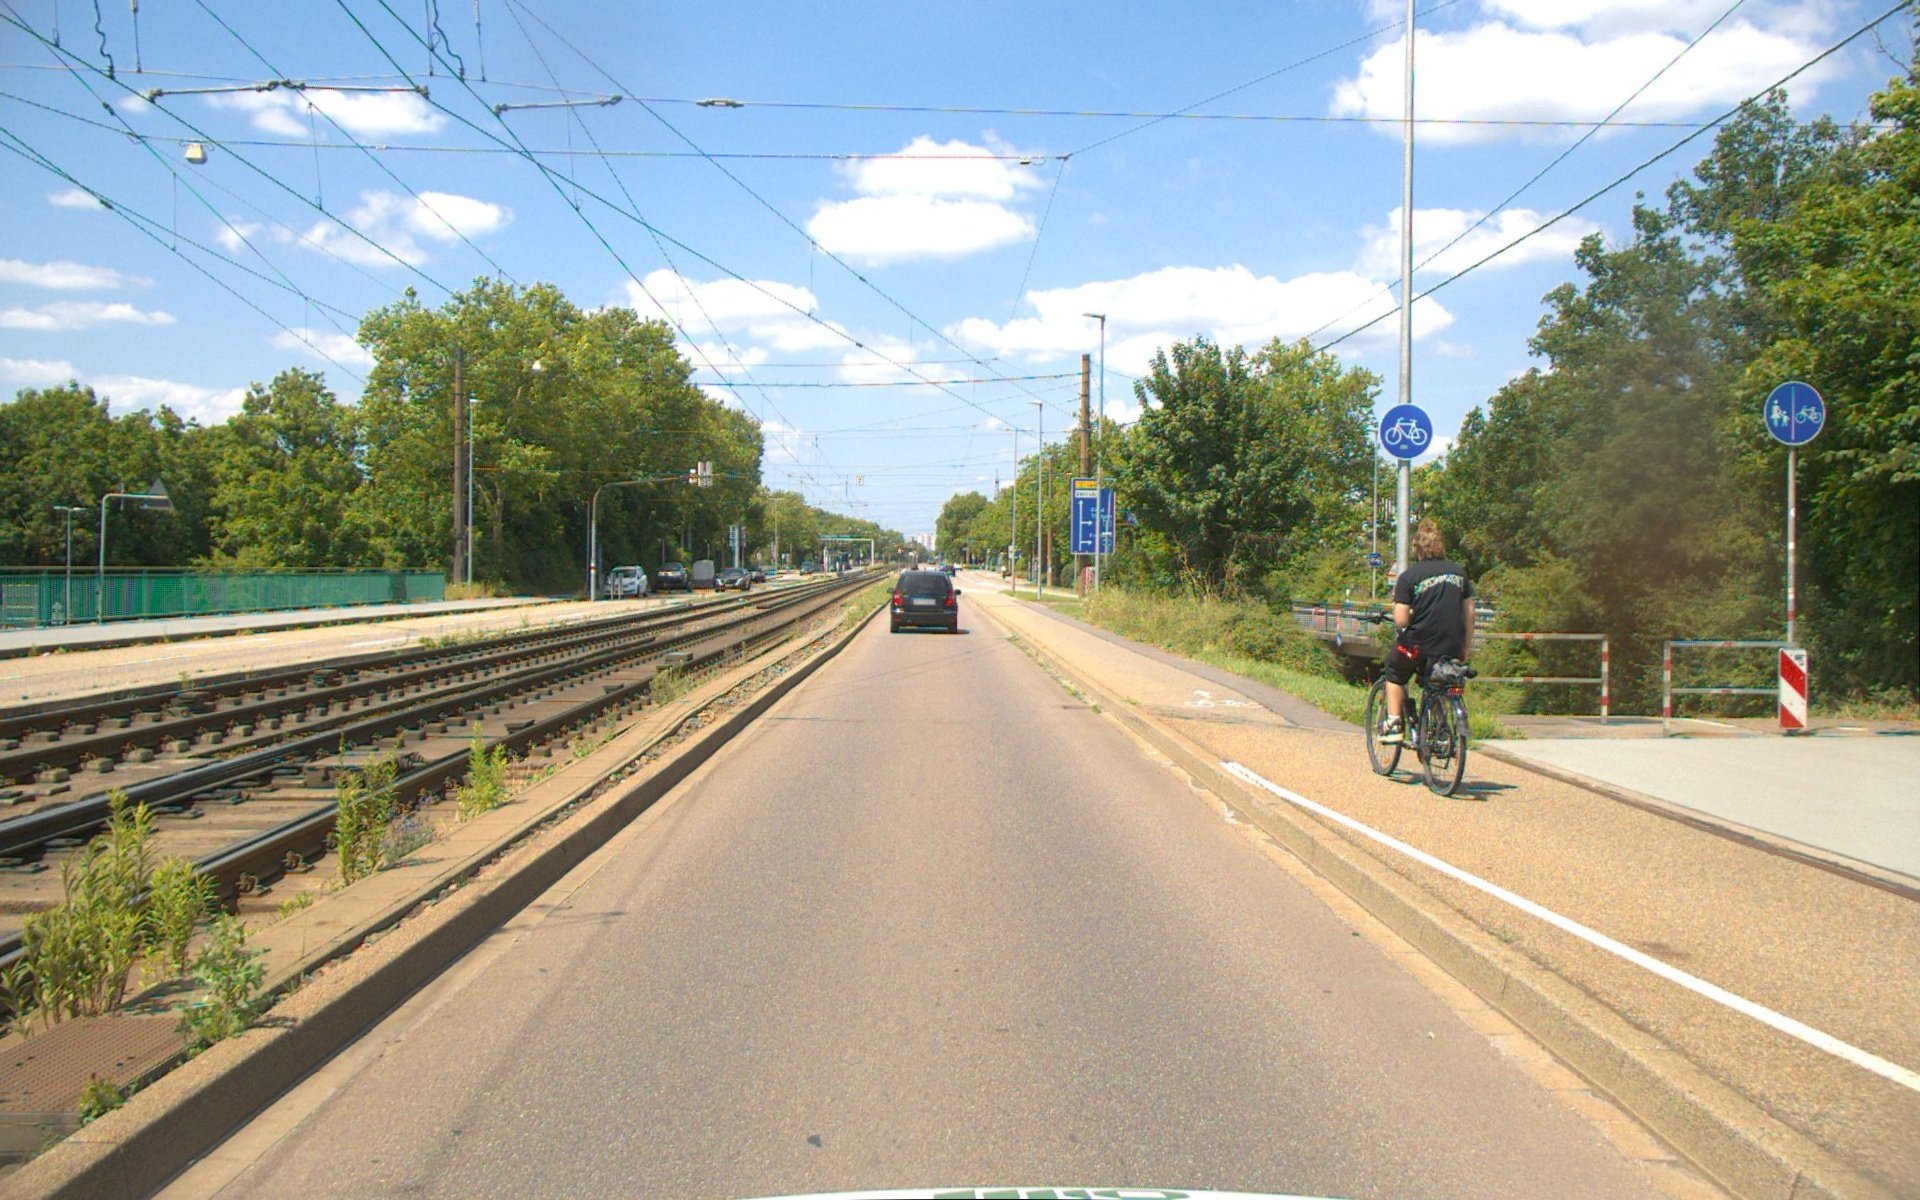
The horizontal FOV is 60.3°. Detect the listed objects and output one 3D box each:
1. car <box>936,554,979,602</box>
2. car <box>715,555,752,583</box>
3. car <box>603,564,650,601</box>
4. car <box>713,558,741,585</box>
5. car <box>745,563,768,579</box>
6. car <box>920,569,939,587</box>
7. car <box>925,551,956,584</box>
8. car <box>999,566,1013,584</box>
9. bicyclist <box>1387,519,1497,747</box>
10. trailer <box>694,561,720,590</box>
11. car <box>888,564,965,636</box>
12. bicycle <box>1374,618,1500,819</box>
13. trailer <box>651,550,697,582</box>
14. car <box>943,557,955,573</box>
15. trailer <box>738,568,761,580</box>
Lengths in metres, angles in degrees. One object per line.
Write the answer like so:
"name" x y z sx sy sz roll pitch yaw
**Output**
"car" -0.117 -1.073 78.479 1.953 2.048 4.001 1 3 0
"car" -14.436 -1.983 105.652 1.837 1.750 5.329 0 2 -2
"car" -17.849 -0.968 88.715 1.685 1.658 4.616 -3 3 -2
"car" -19.763 -2.443 140.324 1.816 2.048 4.001 1 3 -1
"car" -20.870 -2.953 169.953 1.953 1.601 3.999 0 2 -2
"car" -3.296 -2.342 177.760 1.846 1.668 4.001 4 3 -1
"car" -1.298 -2.156 108.613 1.953 2.048 4.000 1 3 -2
"car" 5.928 -3.218 212.238 1.580 2.048 3.439 1 3 -2
"bicyclist" 3.308 0.211 11.394 0.573 1.520 0.558 1 3 3
"trailer" -19.102 -1.898 124.961 1.578 2.048 3.914 1 2 -4
"car" -0.835 -0.045 43.509 1.815 1.597 4.390 1 4 1
"bicycle" 3.298 0.774 11.561 0.423 1.172 1.856 1 3 4
"trailer" -18.057 -2.183 104.516 2.414 1.921 5.956 0 2 -6
"car" -1.597 -5.113 240.581 1.750 2.048 4.001 1 3 -1
"trailer" -20.453 -2.528 160.789 1.855 1.062 5.102 1 2 -3
